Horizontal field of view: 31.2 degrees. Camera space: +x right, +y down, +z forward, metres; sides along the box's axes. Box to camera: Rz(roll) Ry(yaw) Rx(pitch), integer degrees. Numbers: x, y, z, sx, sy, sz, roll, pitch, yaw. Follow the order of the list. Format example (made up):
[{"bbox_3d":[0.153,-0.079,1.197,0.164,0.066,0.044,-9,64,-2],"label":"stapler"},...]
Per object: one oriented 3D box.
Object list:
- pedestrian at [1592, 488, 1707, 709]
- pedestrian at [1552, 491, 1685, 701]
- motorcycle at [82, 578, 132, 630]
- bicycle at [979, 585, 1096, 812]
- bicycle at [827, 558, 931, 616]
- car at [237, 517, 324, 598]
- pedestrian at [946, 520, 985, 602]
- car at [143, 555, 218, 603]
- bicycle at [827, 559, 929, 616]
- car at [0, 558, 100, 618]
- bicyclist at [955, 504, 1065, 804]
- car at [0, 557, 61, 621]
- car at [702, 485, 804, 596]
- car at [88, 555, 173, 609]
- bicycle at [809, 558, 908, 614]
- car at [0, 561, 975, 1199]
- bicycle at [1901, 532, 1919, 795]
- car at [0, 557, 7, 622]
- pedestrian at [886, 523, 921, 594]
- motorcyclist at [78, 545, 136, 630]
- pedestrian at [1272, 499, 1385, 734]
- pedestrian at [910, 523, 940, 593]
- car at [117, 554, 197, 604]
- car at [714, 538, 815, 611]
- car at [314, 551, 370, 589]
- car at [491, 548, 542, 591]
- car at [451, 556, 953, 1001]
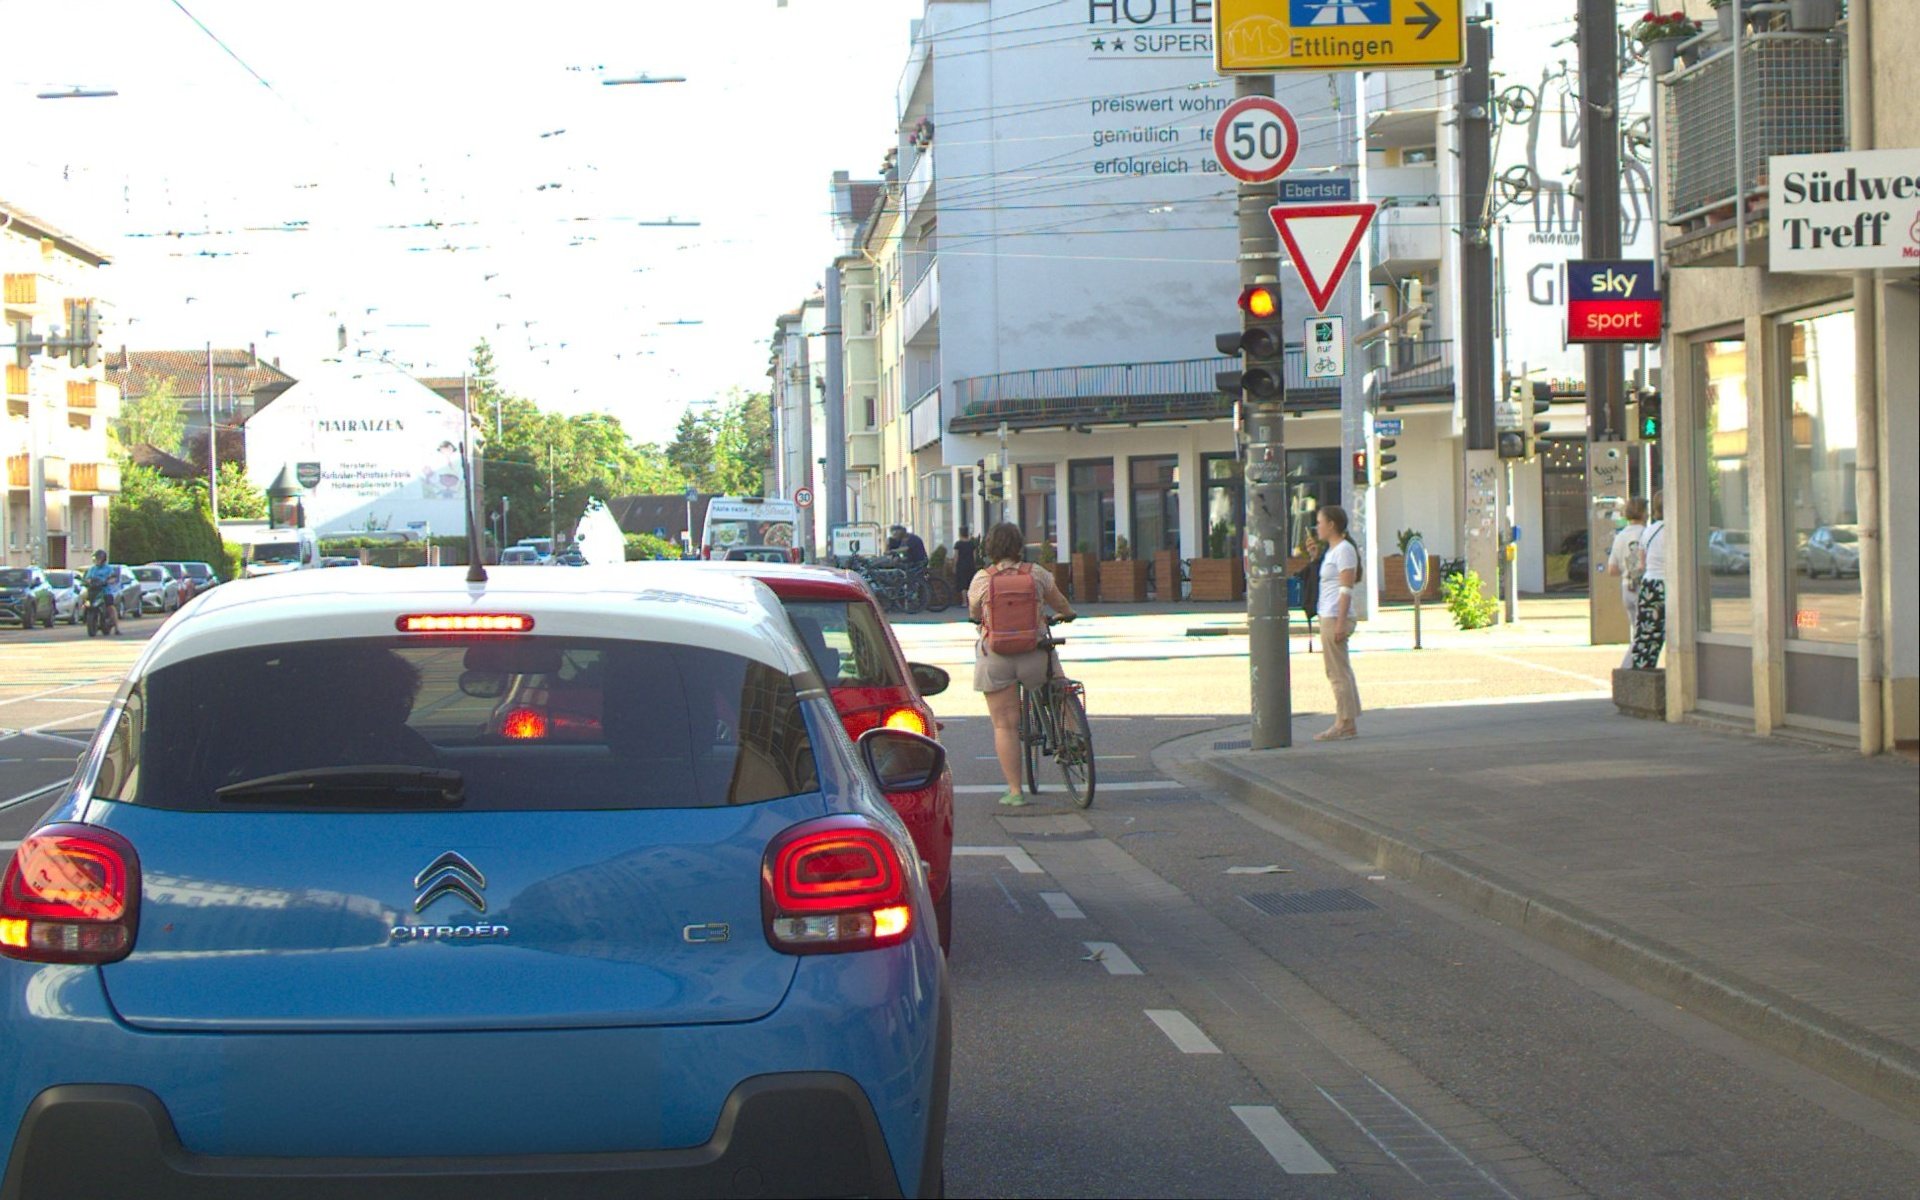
[{"bbox_3d":[5.246,-0.017,26.129,0.738,1.642,0.753,-1,1,19],"label":"pedestrian"},{"bbox_3d":[5.286,-0.039,27.604,0.700,1.642,0.740,-2,1,-36],"label":"pedestrian"},{"bbox_3d":[-16.692,0.069,67.287,0.751,0.973,2.098,-1,1,-9],"label":"motorcycle"},{"bbox_3d":[0.449,0.561,20.642,0.613,1.260,1.911,-1,1,-1],"label":"bicycle"},{"bbox_3d":[-1.555,-0.246,65.814,1.904,1.061,0.642,-1,1,-7],"label":"bicycle"},{"bbox_3d":[-23.658,-1.513,119.936,2.493,2.703,5.839,-1,1,-7],"label":"car"},{"bbox_3d":[0.114,-0.796,70.132,0.553,1.642,0.538,-2,1,-44],"label":"pedestrian"},{"bbox_3d":[-26.065,-0.730,114.999,1.950,1.514,4.001,-1,1,-6],"label":"car"},{"bbox_3d":[-1.604,-0.240,67.120,1.904,1.061,0.642,-1,1,-7],"label":"bicycle"},{"bbox_3d":[-24.303,-0.342,91.947,1.950,1.514,4.001,-1,1,-6],"label":"car"},{"bbox_3d":[0.291,0.305,20.599,0.600,1.740,1.084,-1,1,-1],"label":"bicyclist"},{"bbox_3d":[-23.783,-0.273,85.890,1.950,1.514,4.001,-1,1,-6],"label":"car"},{"bbox_3d":[-4.430,-1.282,73.240,2.079,2.262,5.652,0,1,-4],"label":"car"},{"bbox_3d":[-24.922,-0.549,103.378,1.950,1.514,4.001,-1,1,-6],"label":"car"},{"bbox_3d":[-2.024,-0.278,68.312,1.904,1.061,0.642,-1,1,-7],"label":"bicycle"},{"bbox_3d":[-0.958,0.672,7.375,1.680,1.457,4.001,0,1,-4],"label":"car"},{"bbox_3d":[4.915,0.314,15.752,0.640,1.260,1.911,-1,1,-1],"label":"bicycle"},{"bbox_3d":[-23.318,-0.198,79.225,1.950,1.514,4.001,-1,1,-6],"label":"car"},{"bbox_3d":[-1.151,-0.850,70.258,0.525,1.415,0.546,-1,1,20],"label":"pedestrian"},{"bbox_3d":[-16.672,-0.256,67.213,0.991,1.625,0.739,-1,1,-9],"label":"motorcyclist"},{"bbox_3d":[2.609,0.108,24.375,0.751,1.629,0.740,-1,1,6],"label":"pedestrian"},{"bbox_3d":[-0.717,-0.852,70.006,0.467,1.415,0.527,-1,1,-13],"label":"pedestrian"},{"bbox_3d":[-25.355,-0.680,108.657,1.950,1.514,4.001,-1,1,-6],"label":"car"},{"bbox_3d":[-3.880,-0.519,67.805,1.786,1.354,3.915,-1,1,-6],"label":"car"},{"bbox_3d":[-25.972,-1.292,144.569,1.950,1.514,4.001,-1,1,-6],"label":"car"},{"bbox_3d":[-22.039,-1.515,170.841,2.338,2.032,5.051,-1,1,-6],"label":"car"},{"bbox_3d":[-1.005,0.579,13.584,1.680,1.457,4.001,0,1,-4],"label":"car"}]
